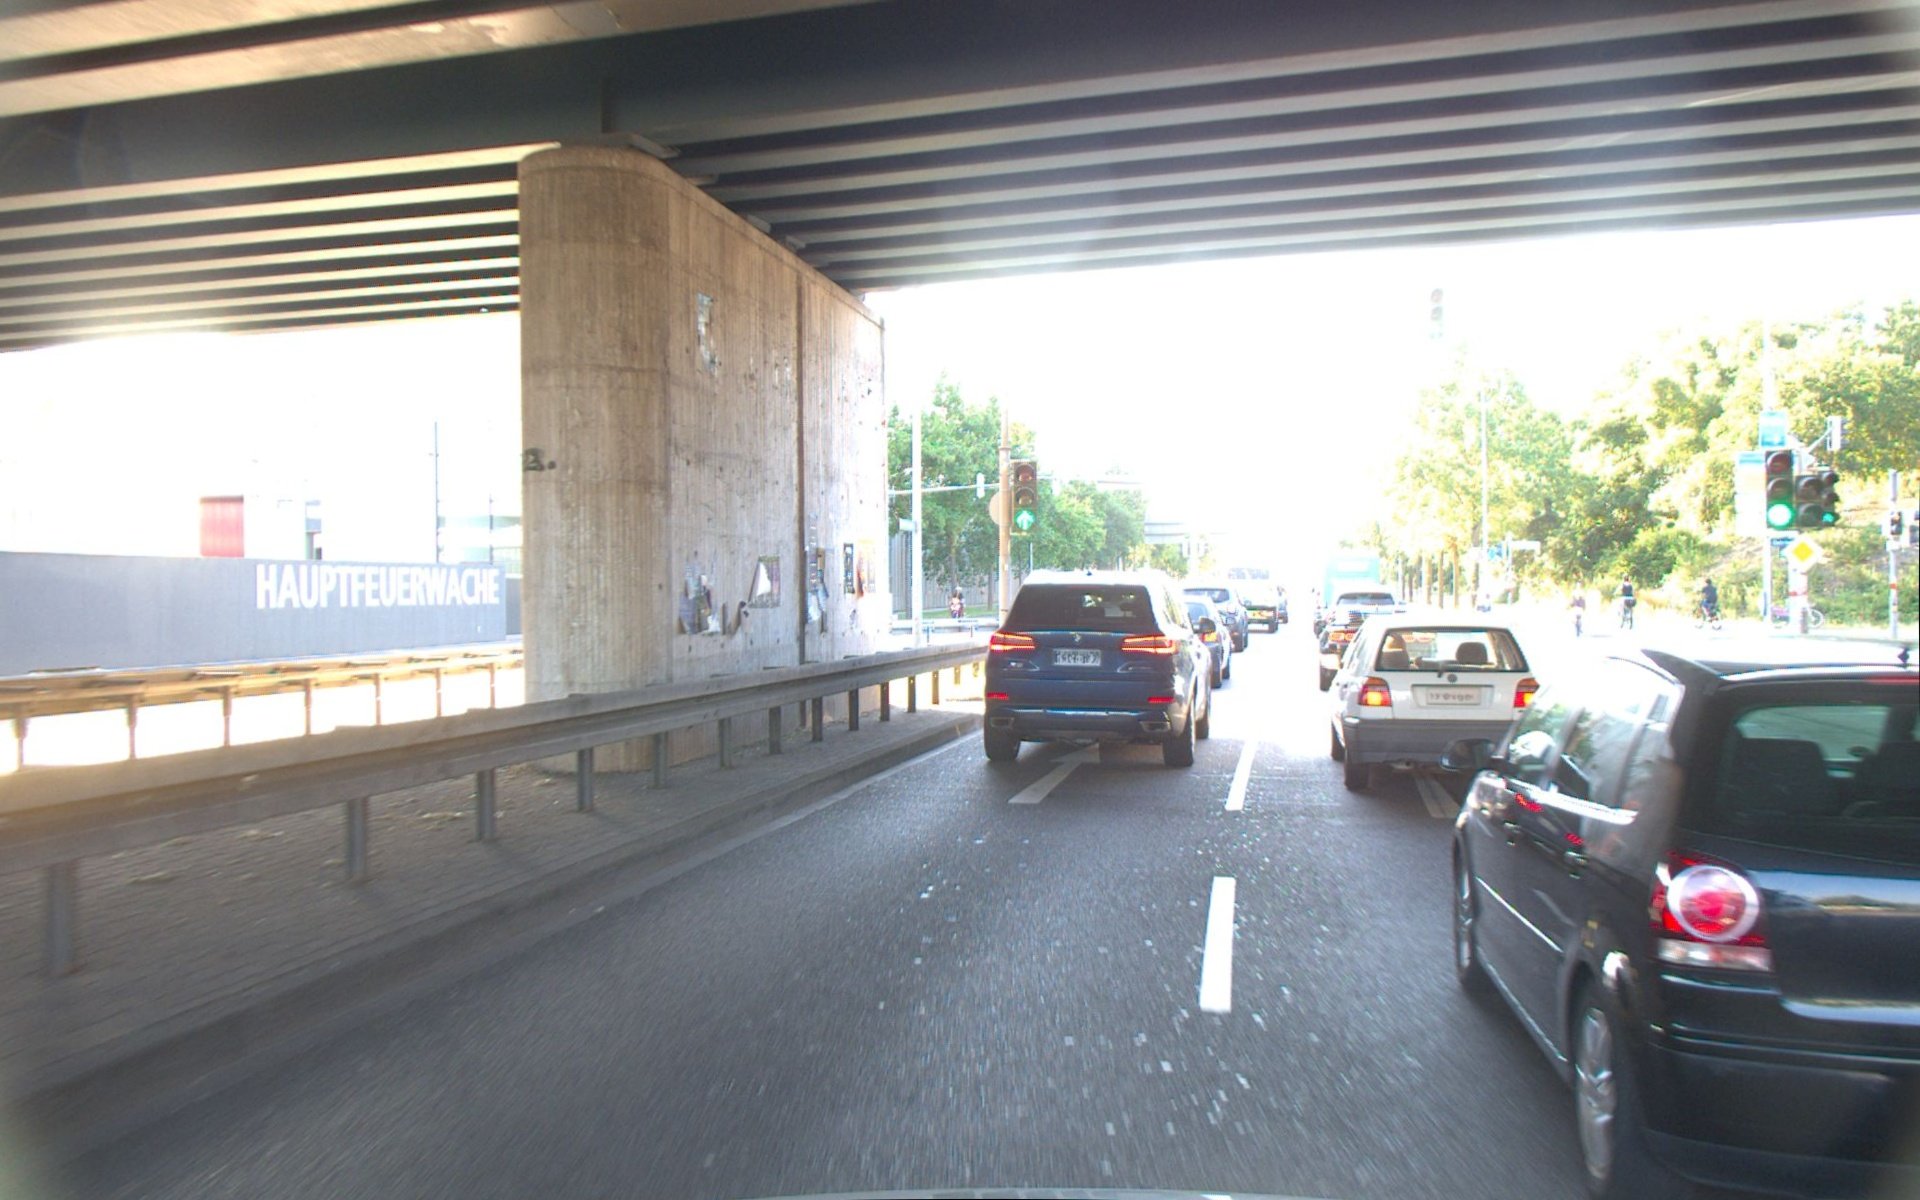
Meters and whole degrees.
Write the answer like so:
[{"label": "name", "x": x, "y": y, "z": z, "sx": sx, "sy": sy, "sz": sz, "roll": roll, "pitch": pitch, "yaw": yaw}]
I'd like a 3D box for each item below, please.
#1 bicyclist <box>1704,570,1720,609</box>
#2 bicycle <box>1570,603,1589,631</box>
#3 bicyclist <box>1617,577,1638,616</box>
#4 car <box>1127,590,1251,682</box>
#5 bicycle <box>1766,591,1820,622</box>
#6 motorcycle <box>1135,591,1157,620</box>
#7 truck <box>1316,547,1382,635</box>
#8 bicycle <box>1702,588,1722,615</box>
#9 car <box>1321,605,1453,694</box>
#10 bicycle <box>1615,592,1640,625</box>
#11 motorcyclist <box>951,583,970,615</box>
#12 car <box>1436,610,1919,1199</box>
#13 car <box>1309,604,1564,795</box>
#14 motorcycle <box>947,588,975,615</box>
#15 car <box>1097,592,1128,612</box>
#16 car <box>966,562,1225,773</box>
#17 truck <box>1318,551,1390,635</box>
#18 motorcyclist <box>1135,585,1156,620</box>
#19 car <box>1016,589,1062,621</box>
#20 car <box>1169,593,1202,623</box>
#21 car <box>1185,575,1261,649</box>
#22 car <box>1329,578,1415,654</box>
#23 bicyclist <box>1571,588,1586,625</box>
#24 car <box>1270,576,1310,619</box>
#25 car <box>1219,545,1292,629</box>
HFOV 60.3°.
[{"label": "bicyclist", "x": 25.922, "y": -0.358, "z": 57.004, "sx": 0.418, "sy": 1.331, "sz": 0.460, "roll": 1, "pitch": 0, "yaw": 12}, {"label": "bicycle", "x": 20.902, "y": 0.582, "z": 55.838, "sx": 0.428, "sy": 0.930, "sz": 1.027, "roll": -2, "pitch": -1, "yaw": 12}, {"label": "bicyclist", "x": 23.694, "y": -0.123, "z": 58.724, "sx": 0.532, "sy": 1.339, "sz": 0.836, "roll": 1, "pitch": 0, "yaw": 12}, {"label": "car", "x": 3.983, "y": 0.586, "z": 28.385, "sx": 1.582, "sy": 1.434, "sz": 3.685, "roll": 1, "pitch": 0, "yaw": 16}, {"label": "bicycle", "x": 28.623, "y": 0.229, "z": 56.823, "sx": 1.631, "sy": 1.008, "sz": 0.577, "roll": -1, "pitch": 2, "yaw": 29}, {"label": "motorcycle", "x": 7.565, "y": 0.230, "z": 67.383, "sx": 0.822, "sy": 1.094, "sz": 2.403, "roll": -3, "pitch": 0, "yaw": 6}, {"label": "truck", "x": 12.580, "y": -0.277, "z": 53.679, "sx": 1.953, "sy": 2.715, "sz": 4.003, "roll": 1, "pitch": 0, "yaw": 12}, {"label": "bicycle", "x": 25.914, "y": 0.049, "z": 57.010, "sx": 0.428, "sy": 0.930, "sz": 1.027, "roll": 1, "pitch": 0, "yaw": 12}, {"label": "car", "x": 6.985, "y": 0.772, "z": 27.391, "sx": 1.951, "sy": 1.317, "sz": 4.003, "roll": 1, "pitch": 0, "yaw": 12}, {"label": "bicycle", "x": 23.704, "y": 0.308, "z": 58.780, "sx": 0.552, "sy": 1.132, "sz": 1.623, "roll": 1, "pitch": 0, "yaw": 12}, {"label": "motorcyclist", "x": 0.033, "y": -0.057, "z": 75.072, "sx": 0.667, "sy": 1.449, "sz": 0.868, "roll": 1, "pitch": 0, "yaw": 15}, {"label": "car", "x": 2.609, "y": 0.765, "z": 5.289, "sx": 1.582, "sy": 1.434, "sz": 3.686, "roll": 1, "pitch": 0, "yaw": 8}, {"label": "car", "x": 4.096, "y": 0.771, "z": 14.769, "sx": 1.545, "sy": 1.438, "sz": 4.065, "roll": 1, "pitch": 0, "yaw": 7}, {"label": "motorcycle", "x": 0.043, "y": 0.082, "z": 75.125, "sx": 0.666, "sy": 1.176, "sz": 2.240, "roll": 1, "pitch": 0, "yaw": 16}, {"label": "car", "x": 12.021, "y": 0.188, "z": 130.227, "sx": 1.951, "sy": 1.425, "sz": 4.352, "roll": -4, "pitch": -1, "yaw": 11}, {"label": "car", "x": 1.504, "y": 0.581, "z": 16.413, "sx": 1.951, "sy": 1.764, "sz": 4.536, "roll": 1, "pitch": 0, "yaw": 12}, {"label": "truck", "x": 11.665, "y": -0.191, "z": 49.141, "sx": 1.953, "sy": 2.356, "sz": 4.003, "roll": 1, "pitch": 0, "yaw": 12}, {"label": "motorcyclist", "x": 7.577, "y": 0.086, "z": 67.425, "sx": 0.780, "sy": 1.373, "sz": 1.275, "roll": -2, "pitch": 1, "yaw": 6}, {"label": "car", "x": 4.695, "y": 0.325, "z": 97.303, "sx": 1.951, "sy": 1.726, "sz": 4.684, "roll": -4, "pitch": -1, "yaw": 11}, {"label": "car", "x": 12.425, "y": 0.439, "z": 91.136, "sx": 1.666, "sy": 1.477, "sz": 3.860, "roll": -4, "pitch": -1, "yaw": 8}, {"label": "car", "x": 6.515, "y": 0.288, "z": 40.751, "sx": 1.582, "sy": 1.709, "sz": 3.686, "roll": 1, "pitch": 0, "yaw": 13}, {"label": "car", "x": 9.293, "y": 0.349, "z": 37.523, "sx": 1.758, "sy": 1.586, "sz": 4.003, "roll": 1, "pitch": 0, "yaw": 12}, {"label": "bicyclist", "x": 20.918, "y": 0.225, "z": 55.932, "sx": 0.418, "sy": 1.254, "sz": 0.460, "roll": -1, "pitch": -1, "yaw": 12}, {"label": "car", "x": 13.724, "y": -0.099, "z": 68.839, "sx": 1.582, "sy": 1.709, "sz": 3.686, "roll": 1, "pitch": 0, "yaw": 11}, {"label": "car", "x": 9.664, "y": -0.395, "z": 54.464, "sx": 2.091, "sy": 2.621, "sz": 5.091, "roll": 1, "pitch": 0, "yaw": 7}]
